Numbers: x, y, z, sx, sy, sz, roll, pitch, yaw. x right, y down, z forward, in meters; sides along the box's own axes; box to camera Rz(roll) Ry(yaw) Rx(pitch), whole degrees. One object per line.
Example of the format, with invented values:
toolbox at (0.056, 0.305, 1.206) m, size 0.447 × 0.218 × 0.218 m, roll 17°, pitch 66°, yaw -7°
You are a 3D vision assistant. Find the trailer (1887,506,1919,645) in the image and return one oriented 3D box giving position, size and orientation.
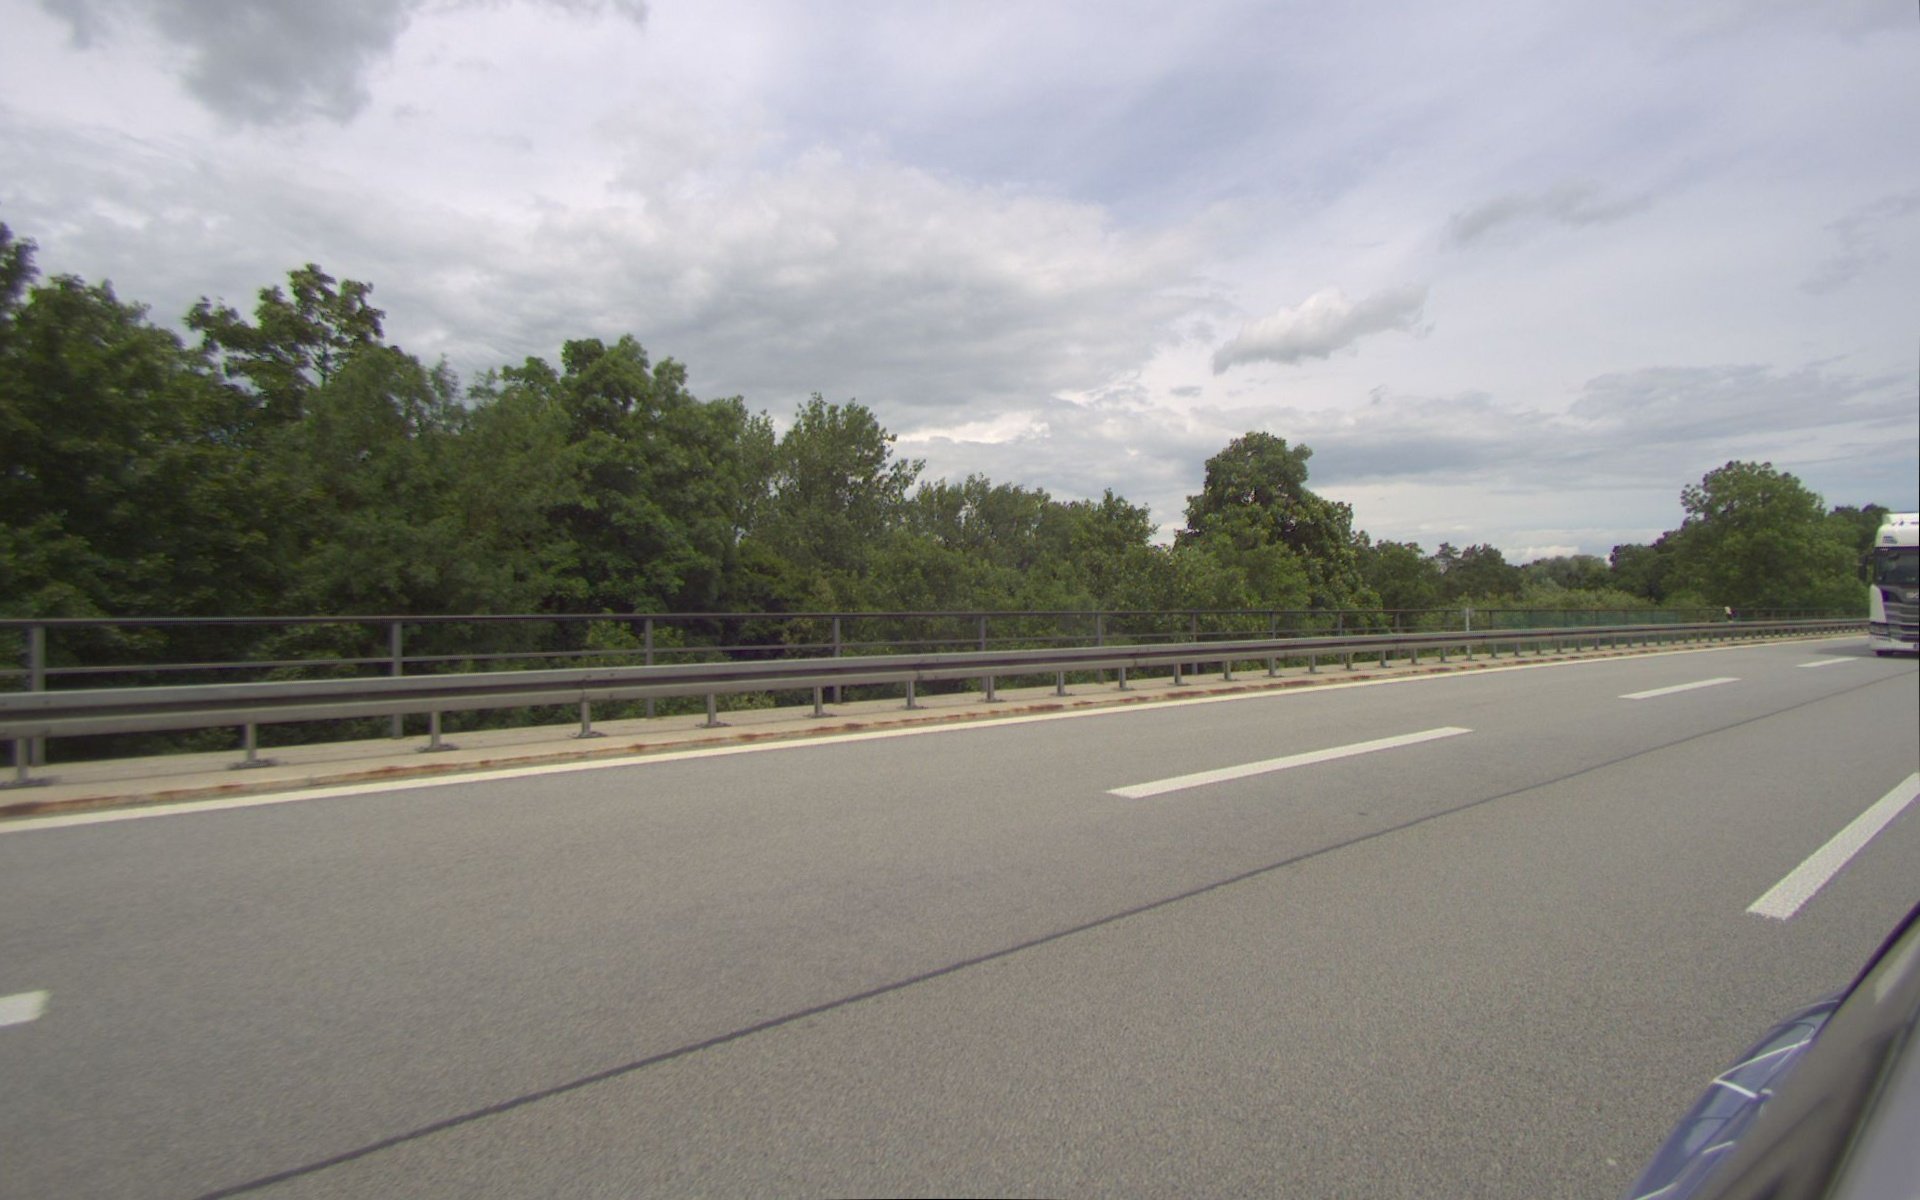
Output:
trailer at (33.088, -0.657, 32.554) m, size 13.543 × 3.940 × 3.068 m, roll 0°, pitch 0°, yaw -40°

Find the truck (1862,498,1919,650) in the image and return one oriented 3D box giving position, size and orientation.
truck at (27.434, -0.656, 27.847) m, size 5.892 × 3.941 × 3.068 m, roll 1°, pitch 0°, yaw -40°
